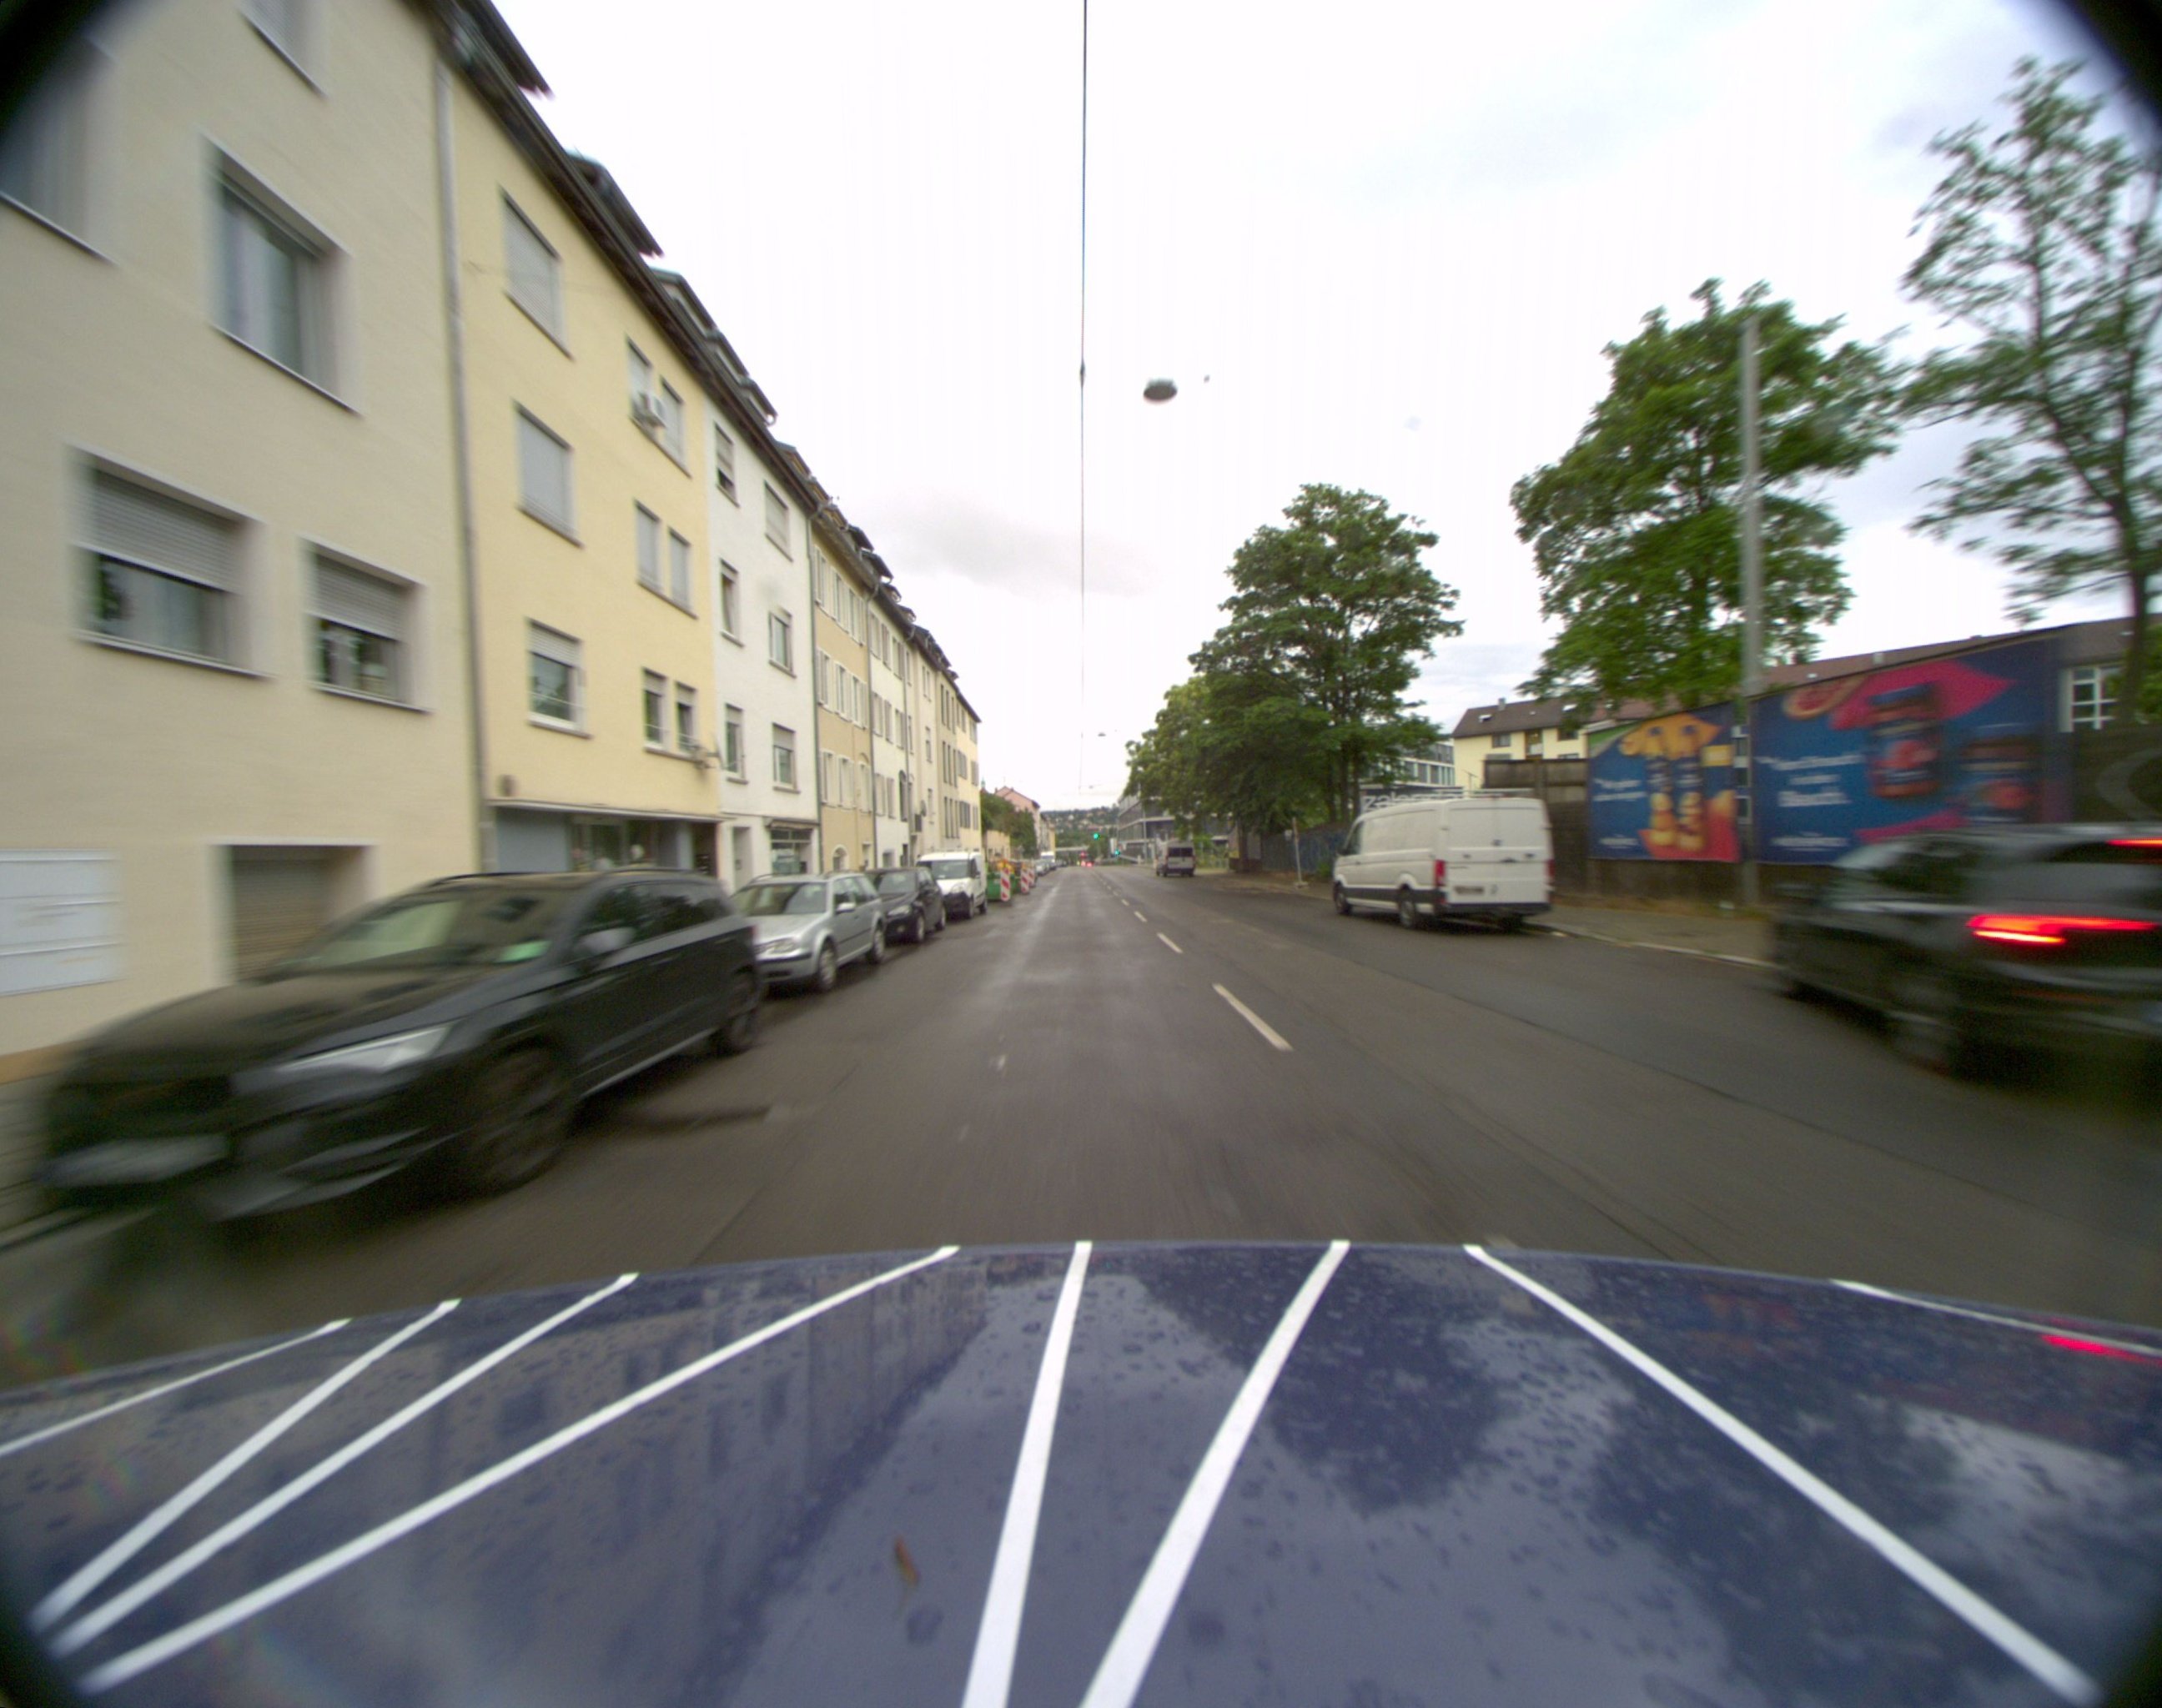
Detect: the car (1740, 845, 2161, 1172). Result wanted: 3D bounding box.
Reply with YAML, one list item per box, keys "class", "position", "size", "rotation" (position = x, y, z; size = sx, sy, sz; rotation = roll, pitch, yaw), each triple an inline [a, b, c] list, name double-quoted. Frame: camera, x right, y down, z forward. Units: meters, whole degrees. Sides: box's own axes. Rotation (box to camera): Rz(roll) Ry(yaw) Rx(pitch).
- class: "car"
  position: [6.349, 0.707, 5.248]
  size: [1.806, 1.407, 4.391]
  rotation: [-2, 0, 29]

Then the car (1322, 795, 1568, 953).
- class: "car"
  position: [6.776, 0.346, 15.150]
  size: [2.017, 2.472, 5.983]
  rotation: [-2, 0, 1]

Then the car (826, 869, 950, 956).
- class: "car"
  position: [-3.803, 1.090, 15.521]
  size: [1.581, 1.462, 3.501]
  rotation: [-3, 0, 0]

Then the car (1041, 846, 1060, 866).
- class: "car"
  position: [-4.176, 0.319, 104.854]
  size: [2.211, 2.449, 6.080]
  rotation: [-4, -1, 0]

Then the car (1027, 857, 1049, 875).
- class: "car"
  position: [-3.843, 1.047, 68.409]
  size: [1.633, 1.445, 3.759]
  rotation: [-4, -1, -1]

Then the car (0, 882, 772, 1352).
- class: "car"
  position: [-3.684, 1.064, 4.870]
  size: [1.667, 1.564, 4.098]
  rotation: [-3, 0, 0]

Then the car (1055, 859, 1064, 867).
- class: "car"
  position: [-4.292, 1.841, 155.004]
  size: [1.630, 1.402, 3.778]
  rotation: [-3, -1, 0]

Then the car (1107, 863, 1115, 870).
- class: "car"
  position: [6.195, 2.618, 156.976]
  size: [1.641, 1.458, 3.584]
  rotation: [-3, -1, 1]

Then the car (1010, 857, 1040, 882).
- class: "car"
  position: [-3.757, 1.041, 51.418]
  size: [1.721, 1.515, 4.000]
  rotation: [-4, -1, -2]

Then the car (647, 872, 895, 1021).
- class: "car"
  position: [-3.918, 1.071, 10.426]
  size: [1.667, 1.491, 4.098]
  rotation: [-3, 0, 0]

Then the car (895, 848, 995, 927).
- class: "car"
  position: [-3.713, 0.866, 21.473]
  size: [1.822, 1.912, 4.239]
  rotation: [-4, 0, 2]

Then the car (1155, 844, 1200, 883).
- class: "car"
  position: [6.763, 0.649, 54.107]
  size: [2.236, 2.563, 6.537]
  rotation: [-1, 0, -1]

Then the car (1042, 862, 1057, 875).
- class: "car"
  position: [-3.975, 1.797, 96.535]
  size: [1.693, 1.445, 4.235]
  rotation: [-4, -1, -1]
